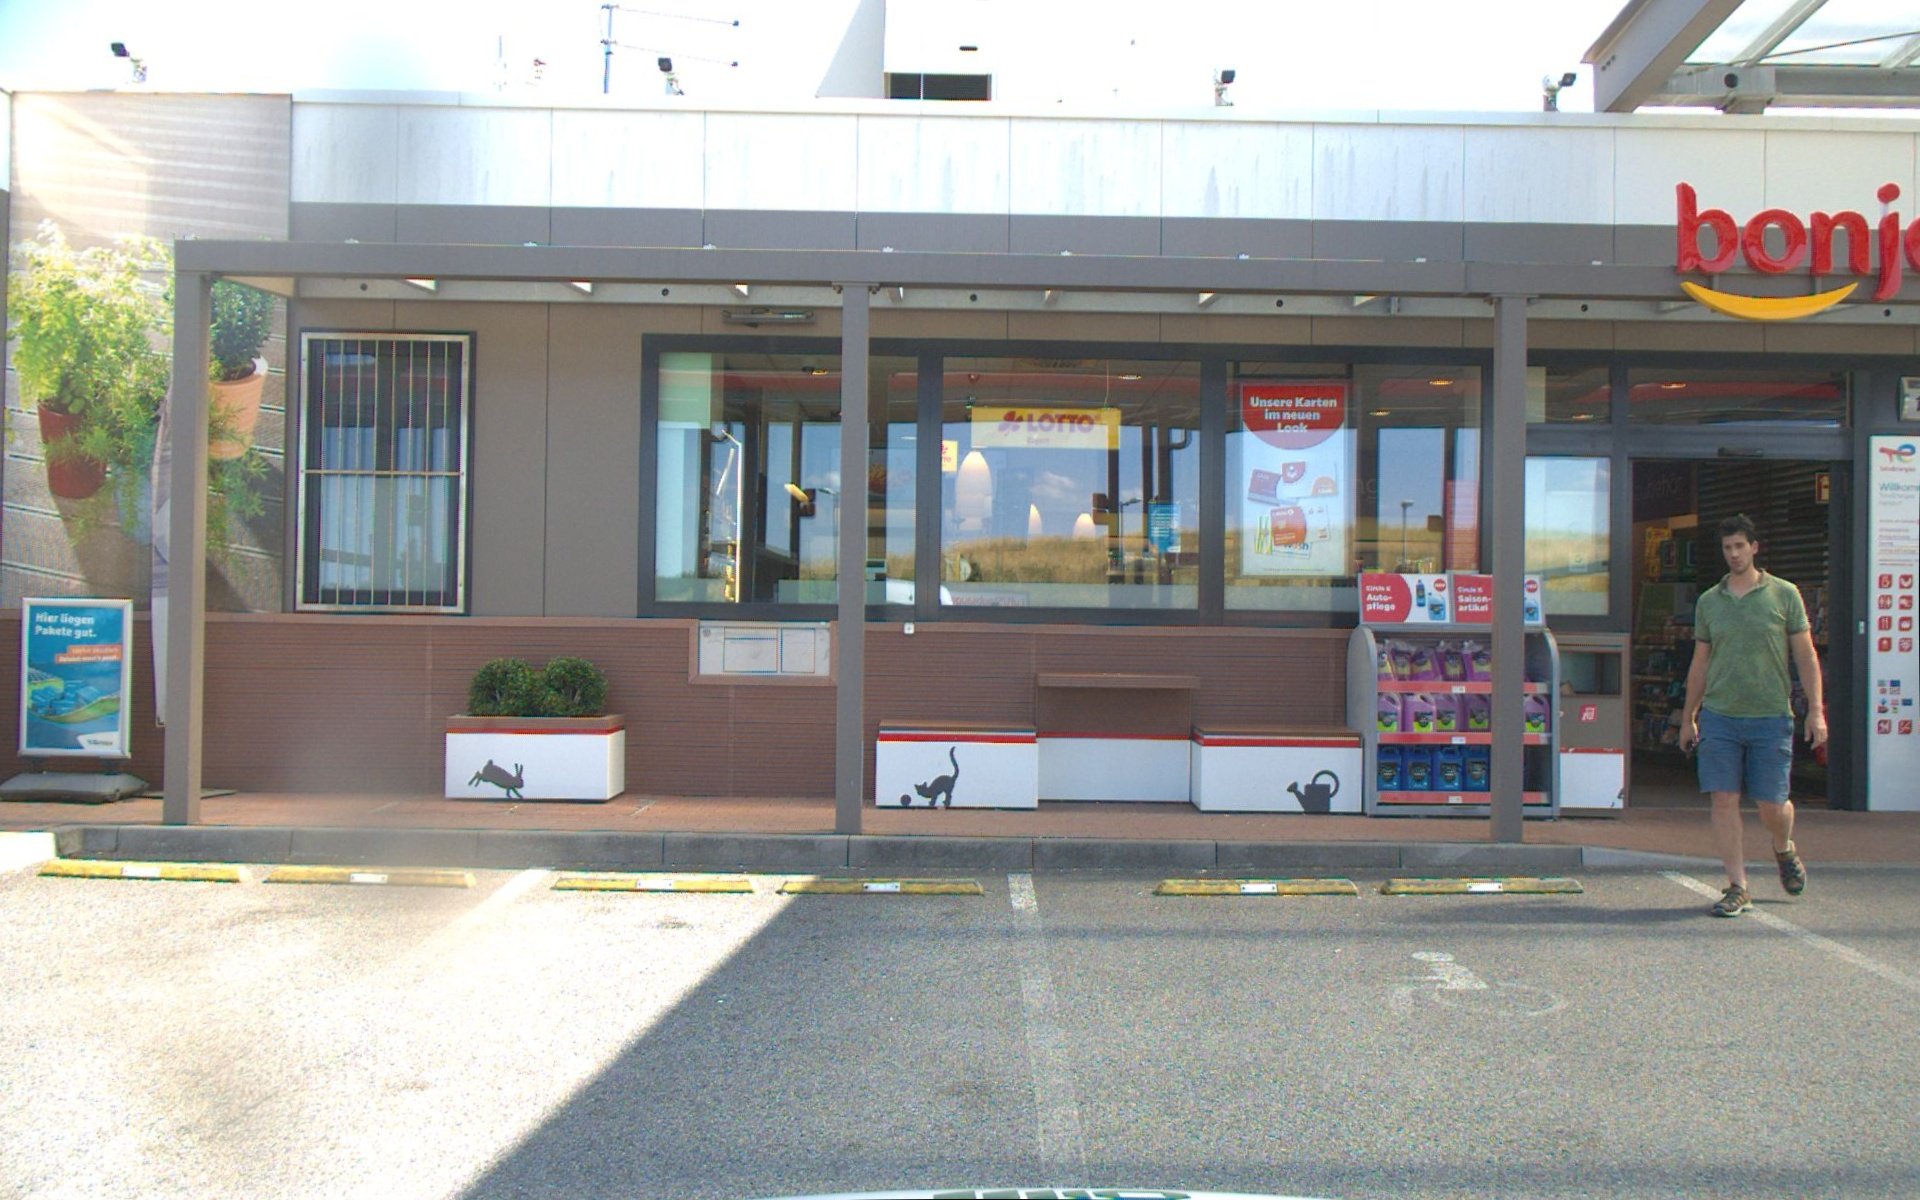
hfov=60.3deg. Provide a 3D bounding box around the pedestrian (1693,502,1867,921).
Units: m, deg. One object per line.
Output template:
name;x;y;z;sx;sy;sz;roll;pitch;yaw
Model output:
pedestrian;3.838;0.486;7.771;0.687;1.829;0.862;0;0;26
